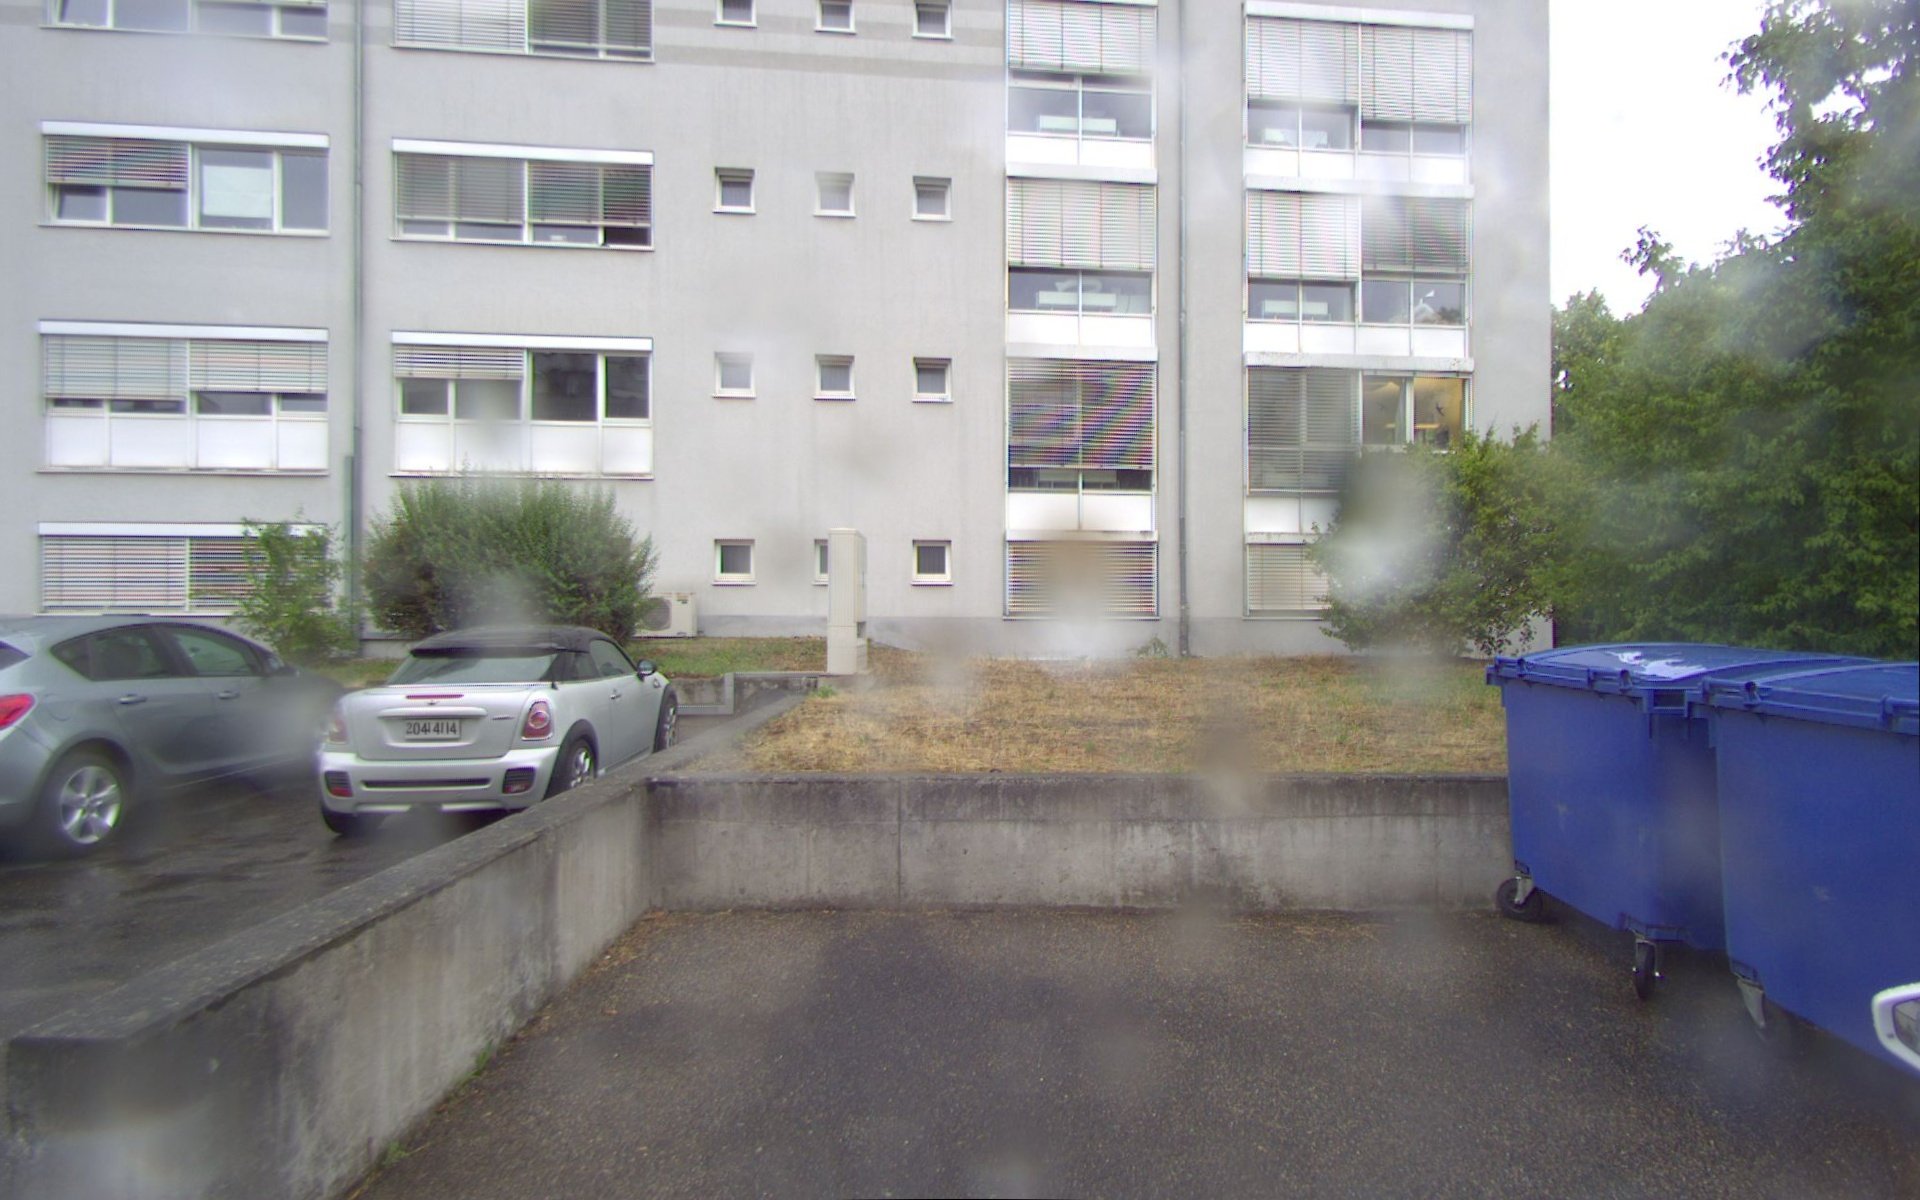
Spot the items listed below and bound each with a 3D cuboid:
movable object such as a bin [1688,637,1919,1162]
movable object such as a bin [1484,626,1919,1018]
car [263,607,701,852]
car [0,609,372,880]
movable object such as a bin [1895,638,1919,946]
[{"bbox_3d":[3.094,0.803,2.942,1.094,1.355,1.207,0,-1,5],"label":"movable object such as a bin"},{"bbox_3d":[3.095,0.829,4.269,1.094,1.355,1.207,-2,1,1],"label":"movable object such as a bin"},{"bbox_3d":[-3.520,0.825,8.381,1.787,1.351,4.176,-1,2,-3],"label":"car"},{"bbox_3d":[-6.364,0.839,7.446,1.787,1.503,4.177,-1,-1,-4],"label":"car"},{"bbox_3d":[4.698,0.831,3.891,0.986,1.355,1.225,-1,-1,1],"label":"movable object such as a bin"}]
